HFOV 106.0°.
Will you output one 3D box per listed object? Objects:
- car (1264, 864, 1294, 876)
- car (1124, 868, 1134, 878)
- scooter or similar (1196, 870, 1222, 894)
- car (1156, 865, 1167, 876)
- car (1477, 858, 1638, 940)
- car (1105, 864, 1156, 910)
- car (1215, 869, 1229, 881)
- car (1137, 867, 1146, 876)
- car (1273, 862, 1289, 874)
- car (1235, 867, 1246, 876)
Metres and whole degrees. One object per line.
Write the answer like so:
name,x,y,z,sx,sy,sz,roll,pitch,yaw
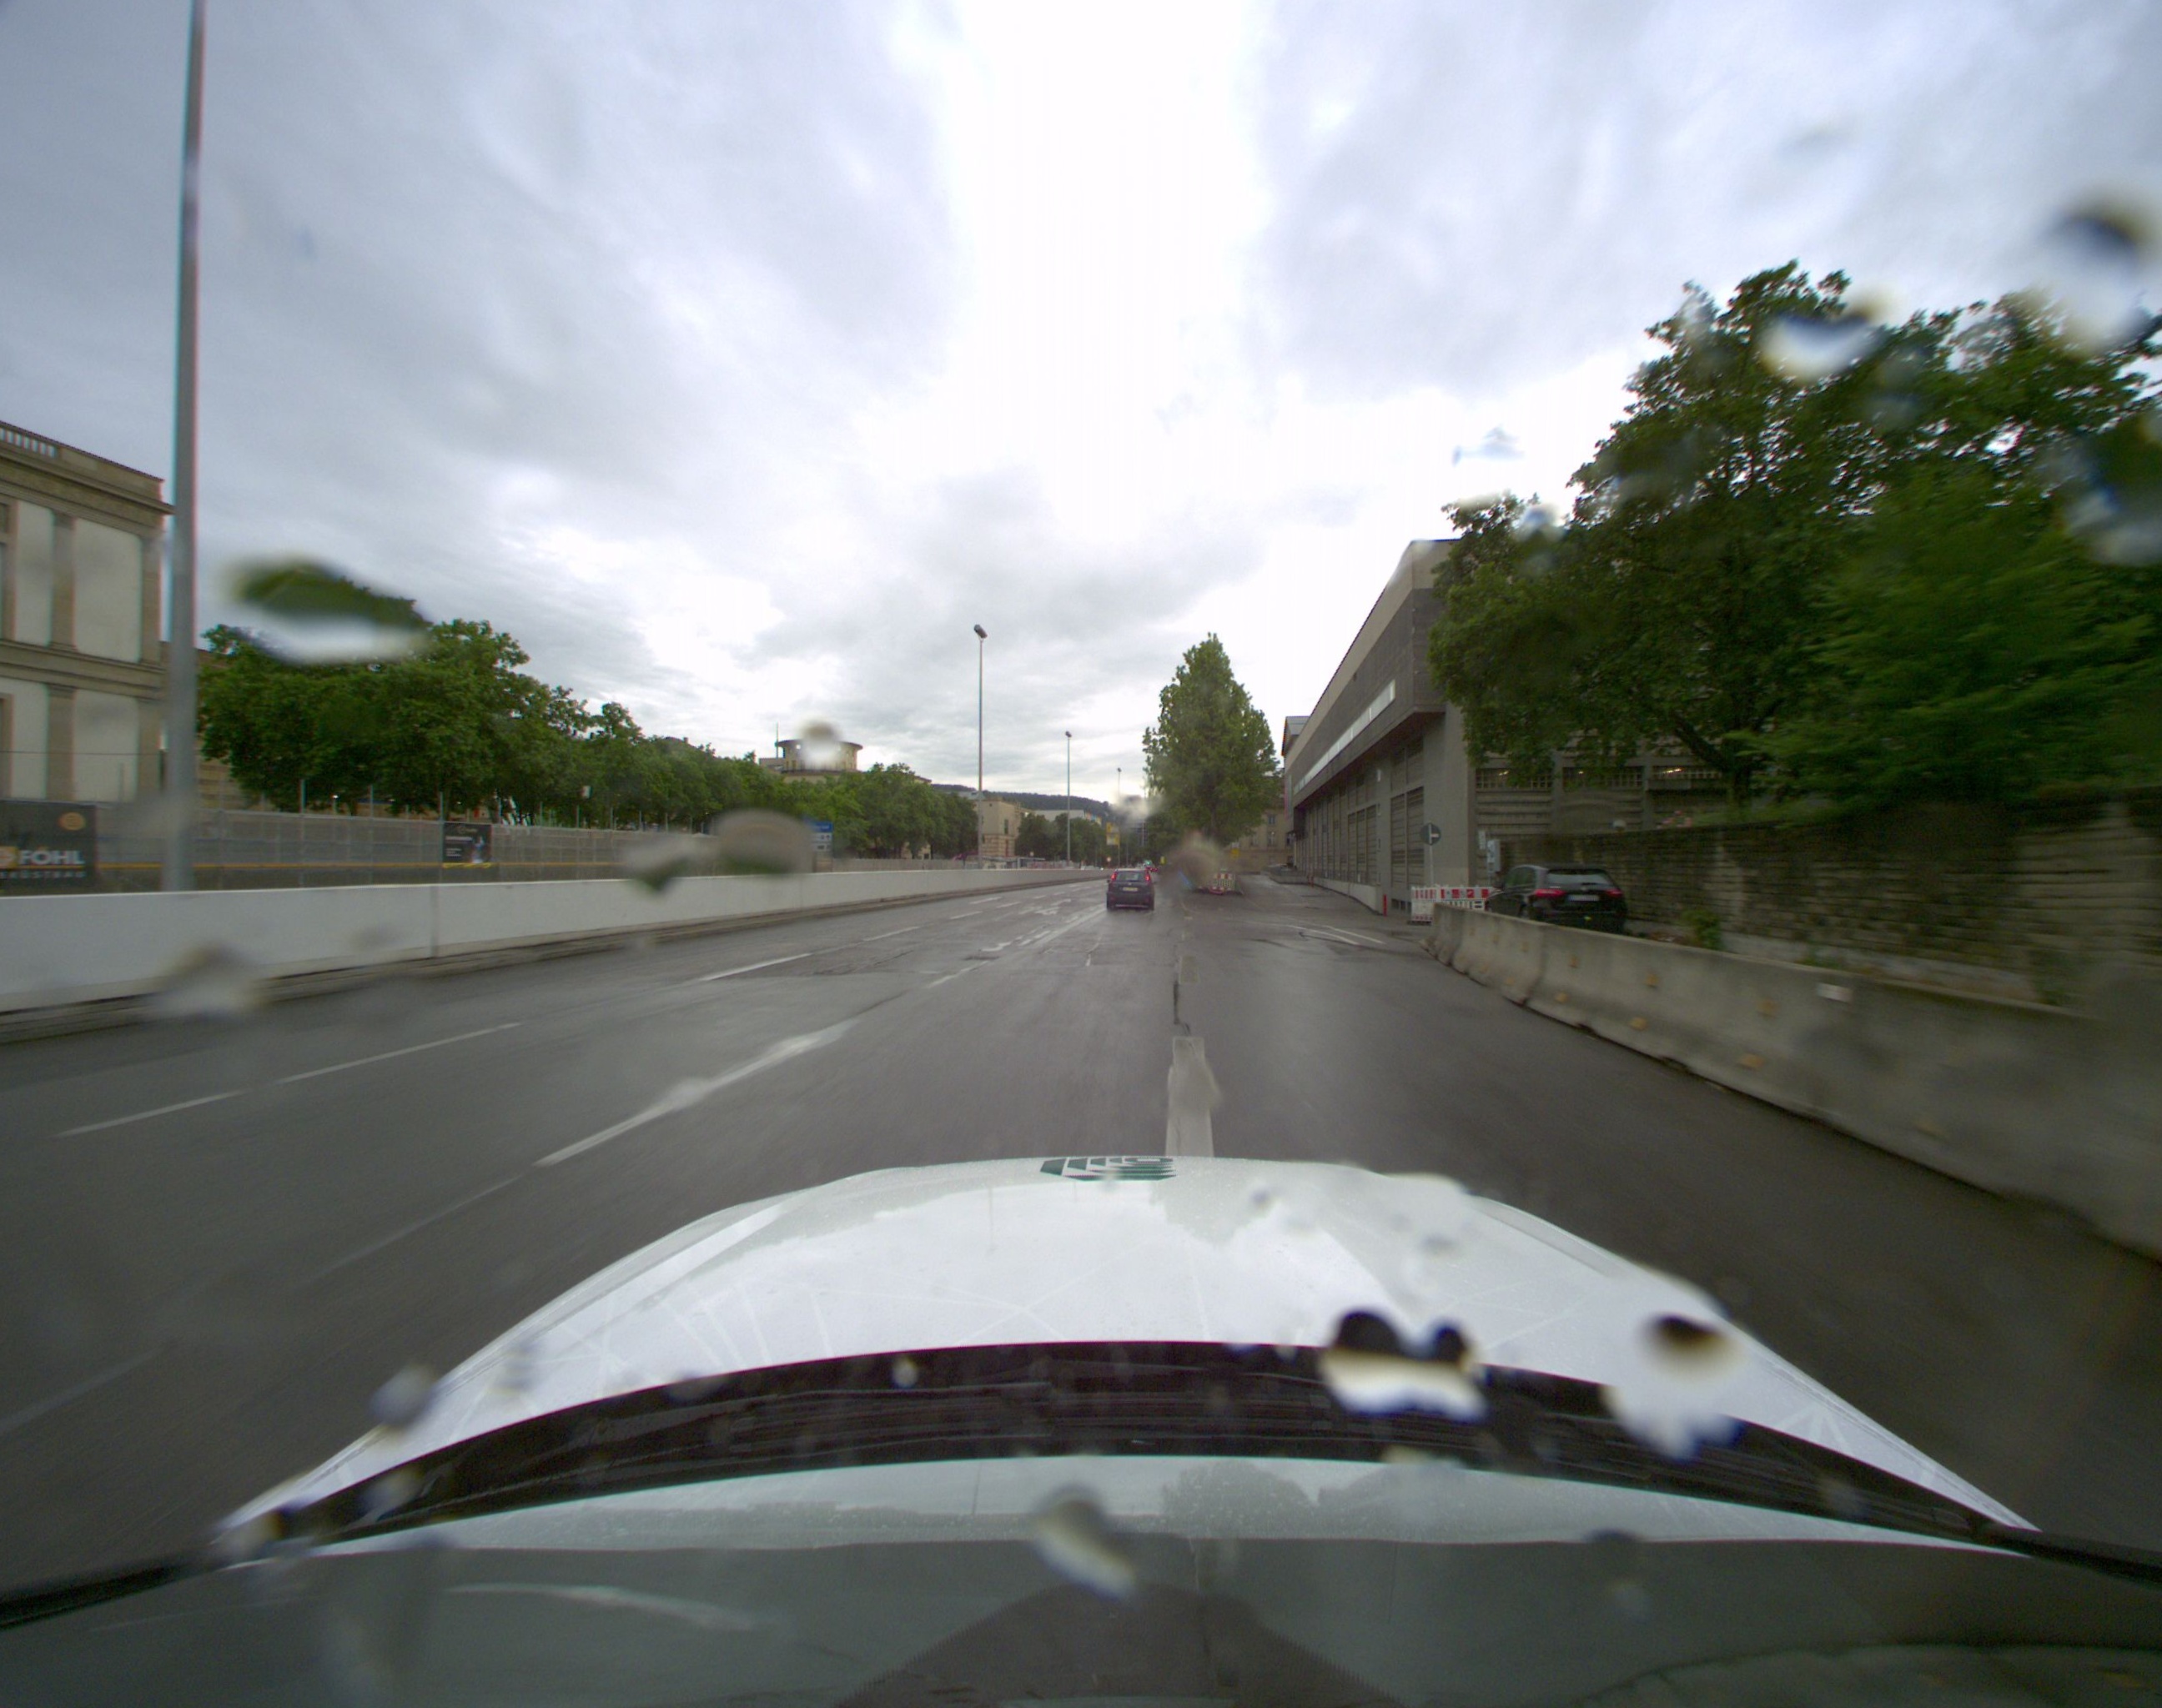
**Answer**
car,28.417,2.335,116.886,3.964,1.560,1.937,-1,-4,8
car,6.822,2.729,114.588,1.379,1.386,3.069,-1,-2,3
scooter or similar,6.920,1.520,44.153,1.347,1.286,0.620,2,-3,9
car,15.657,3.177,157.753,1.983,2.013,4.008,1,0,7
car,10.188,0.903,17.791,1.792,1.552,4.340,0,-1,13
car,1.847,1.126,29.404,1.661,1.427,3.764,1,1,6
car,22.865,3.411,132.271,1.980,1.708,4.013,1,0,12
car,14.028,4.004,189.317,1.985,2.014,4.002,2,-2,3
car,30.556,2.209,124.650,1.982,1.760,5.107,0,-2,8
car,29.990,3.288,153.216,1.980,1.709,4.013,1,-2,12
